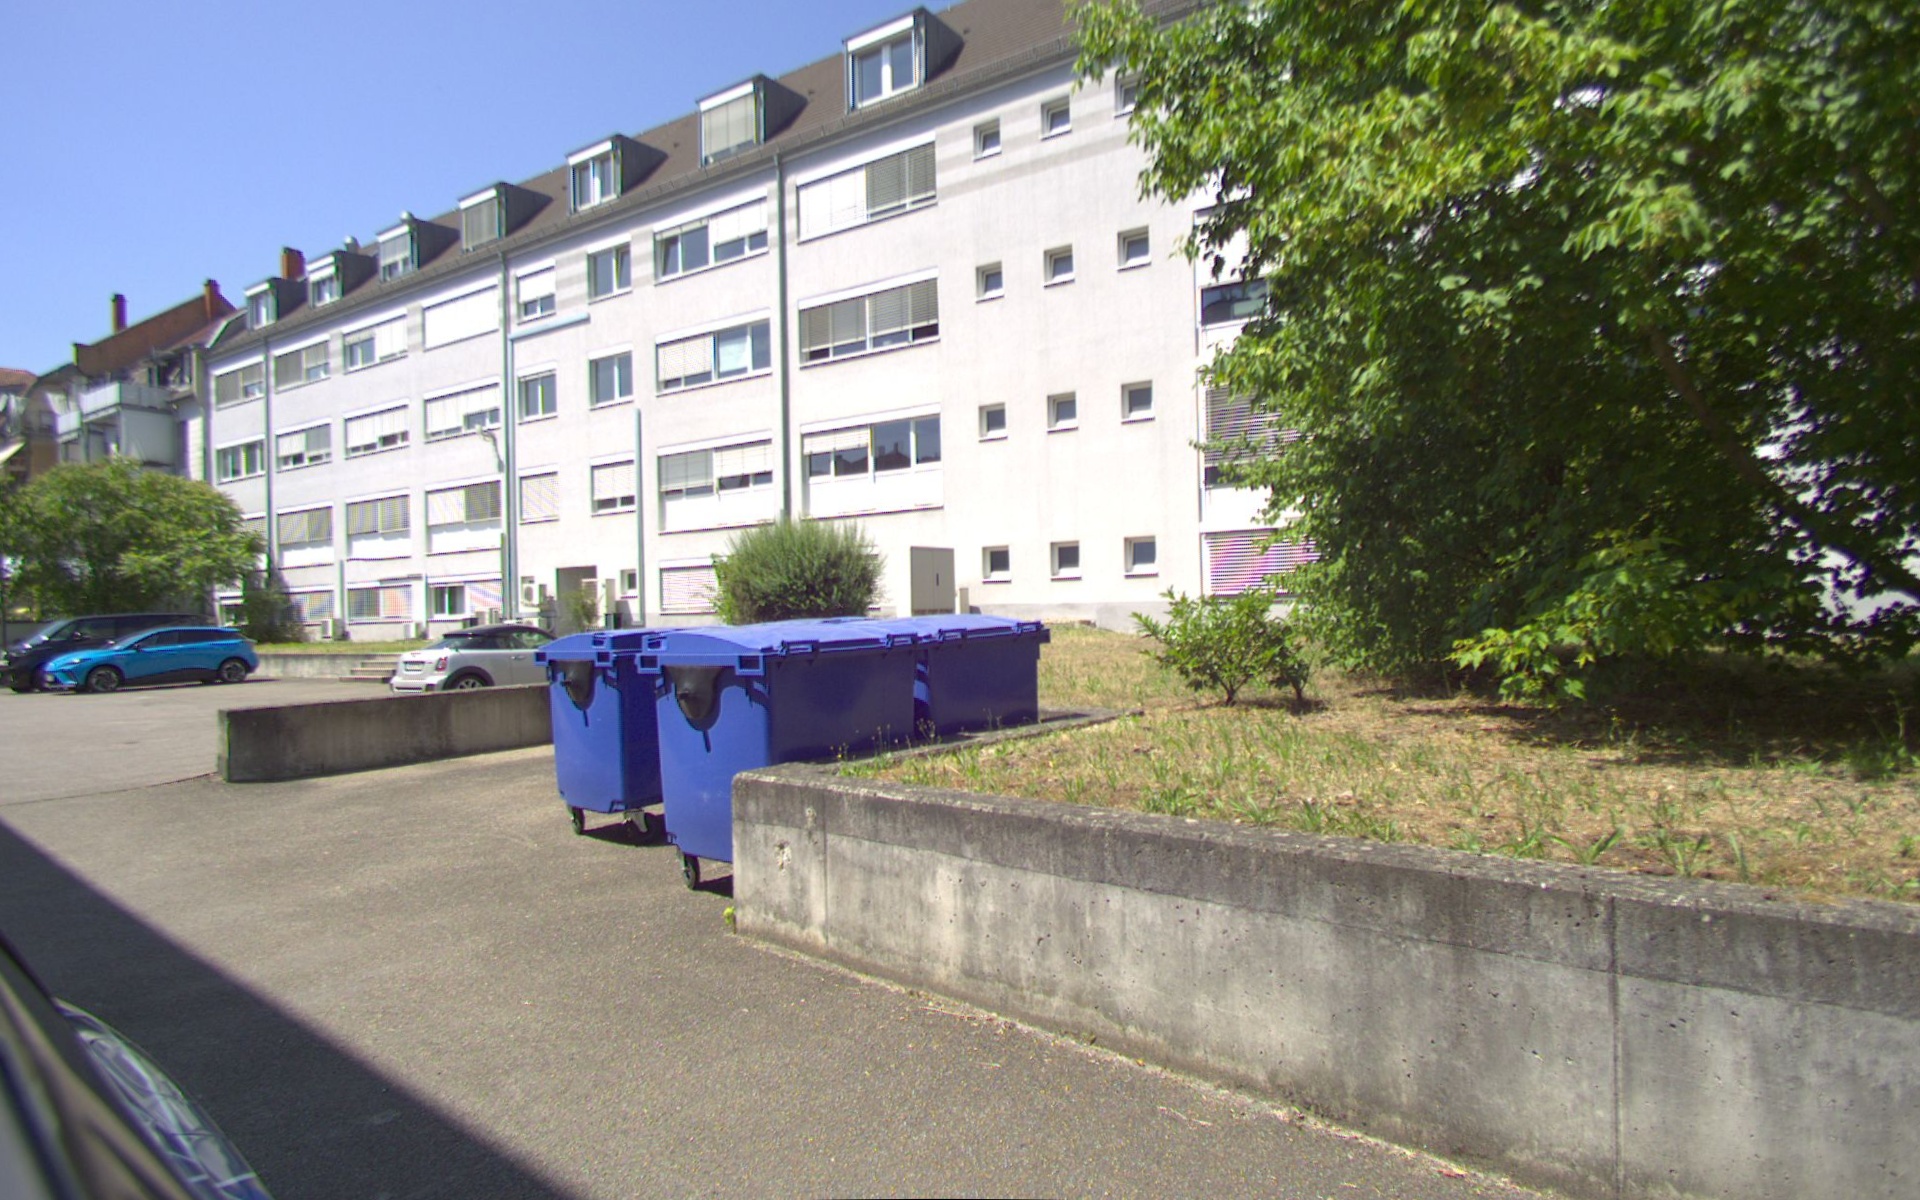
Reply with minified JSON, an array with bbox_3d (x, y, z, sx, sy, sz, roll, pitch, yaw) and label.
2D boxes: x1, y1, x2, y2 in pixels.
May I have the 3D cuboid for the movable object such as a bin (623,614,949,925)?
[{"bbox_3d":[-0.887,0.767,5.287,1.103,1.338,1.242,-2,-1,38],"label":"movable object such as a bin"}]

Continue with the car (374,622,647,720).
[{"bbox_3d":[-7.478,1.118,17.183,1.707,1.447,3.953,-2,-2,34],"label":"car"}]

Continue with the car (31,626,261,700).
[{"bbox_3d":[-20.242,1.514,25.342,1.854,1.565,4.123,-2,-1,33],"label":"car"}]

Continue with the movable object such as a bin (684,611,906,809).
[{"bbox_3d":[-1.256,0.777,7.787,1.103,1.338,1.242,-2,-1,38],"label":"movable object such as a bin"}]

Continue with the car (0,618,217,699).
[{"bbox_3d":[-22.597,1.461,26.716,1.995,1.846,4.399,-2,0,35],"label":"car"}]

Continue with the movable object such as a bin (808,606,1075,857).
[{"bbox_3d":[-0.098,0.733,6.330,1.103,1.338,1.242,-2,-1,38],"label":"movable object such as a bin"}]

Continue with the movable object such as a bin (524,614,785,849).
[{"bbox_3d":[-2.016,0.790,6.734,1.103,1.338,1.242,-2,-1,38],"label":"movable object such as a bin"}]
